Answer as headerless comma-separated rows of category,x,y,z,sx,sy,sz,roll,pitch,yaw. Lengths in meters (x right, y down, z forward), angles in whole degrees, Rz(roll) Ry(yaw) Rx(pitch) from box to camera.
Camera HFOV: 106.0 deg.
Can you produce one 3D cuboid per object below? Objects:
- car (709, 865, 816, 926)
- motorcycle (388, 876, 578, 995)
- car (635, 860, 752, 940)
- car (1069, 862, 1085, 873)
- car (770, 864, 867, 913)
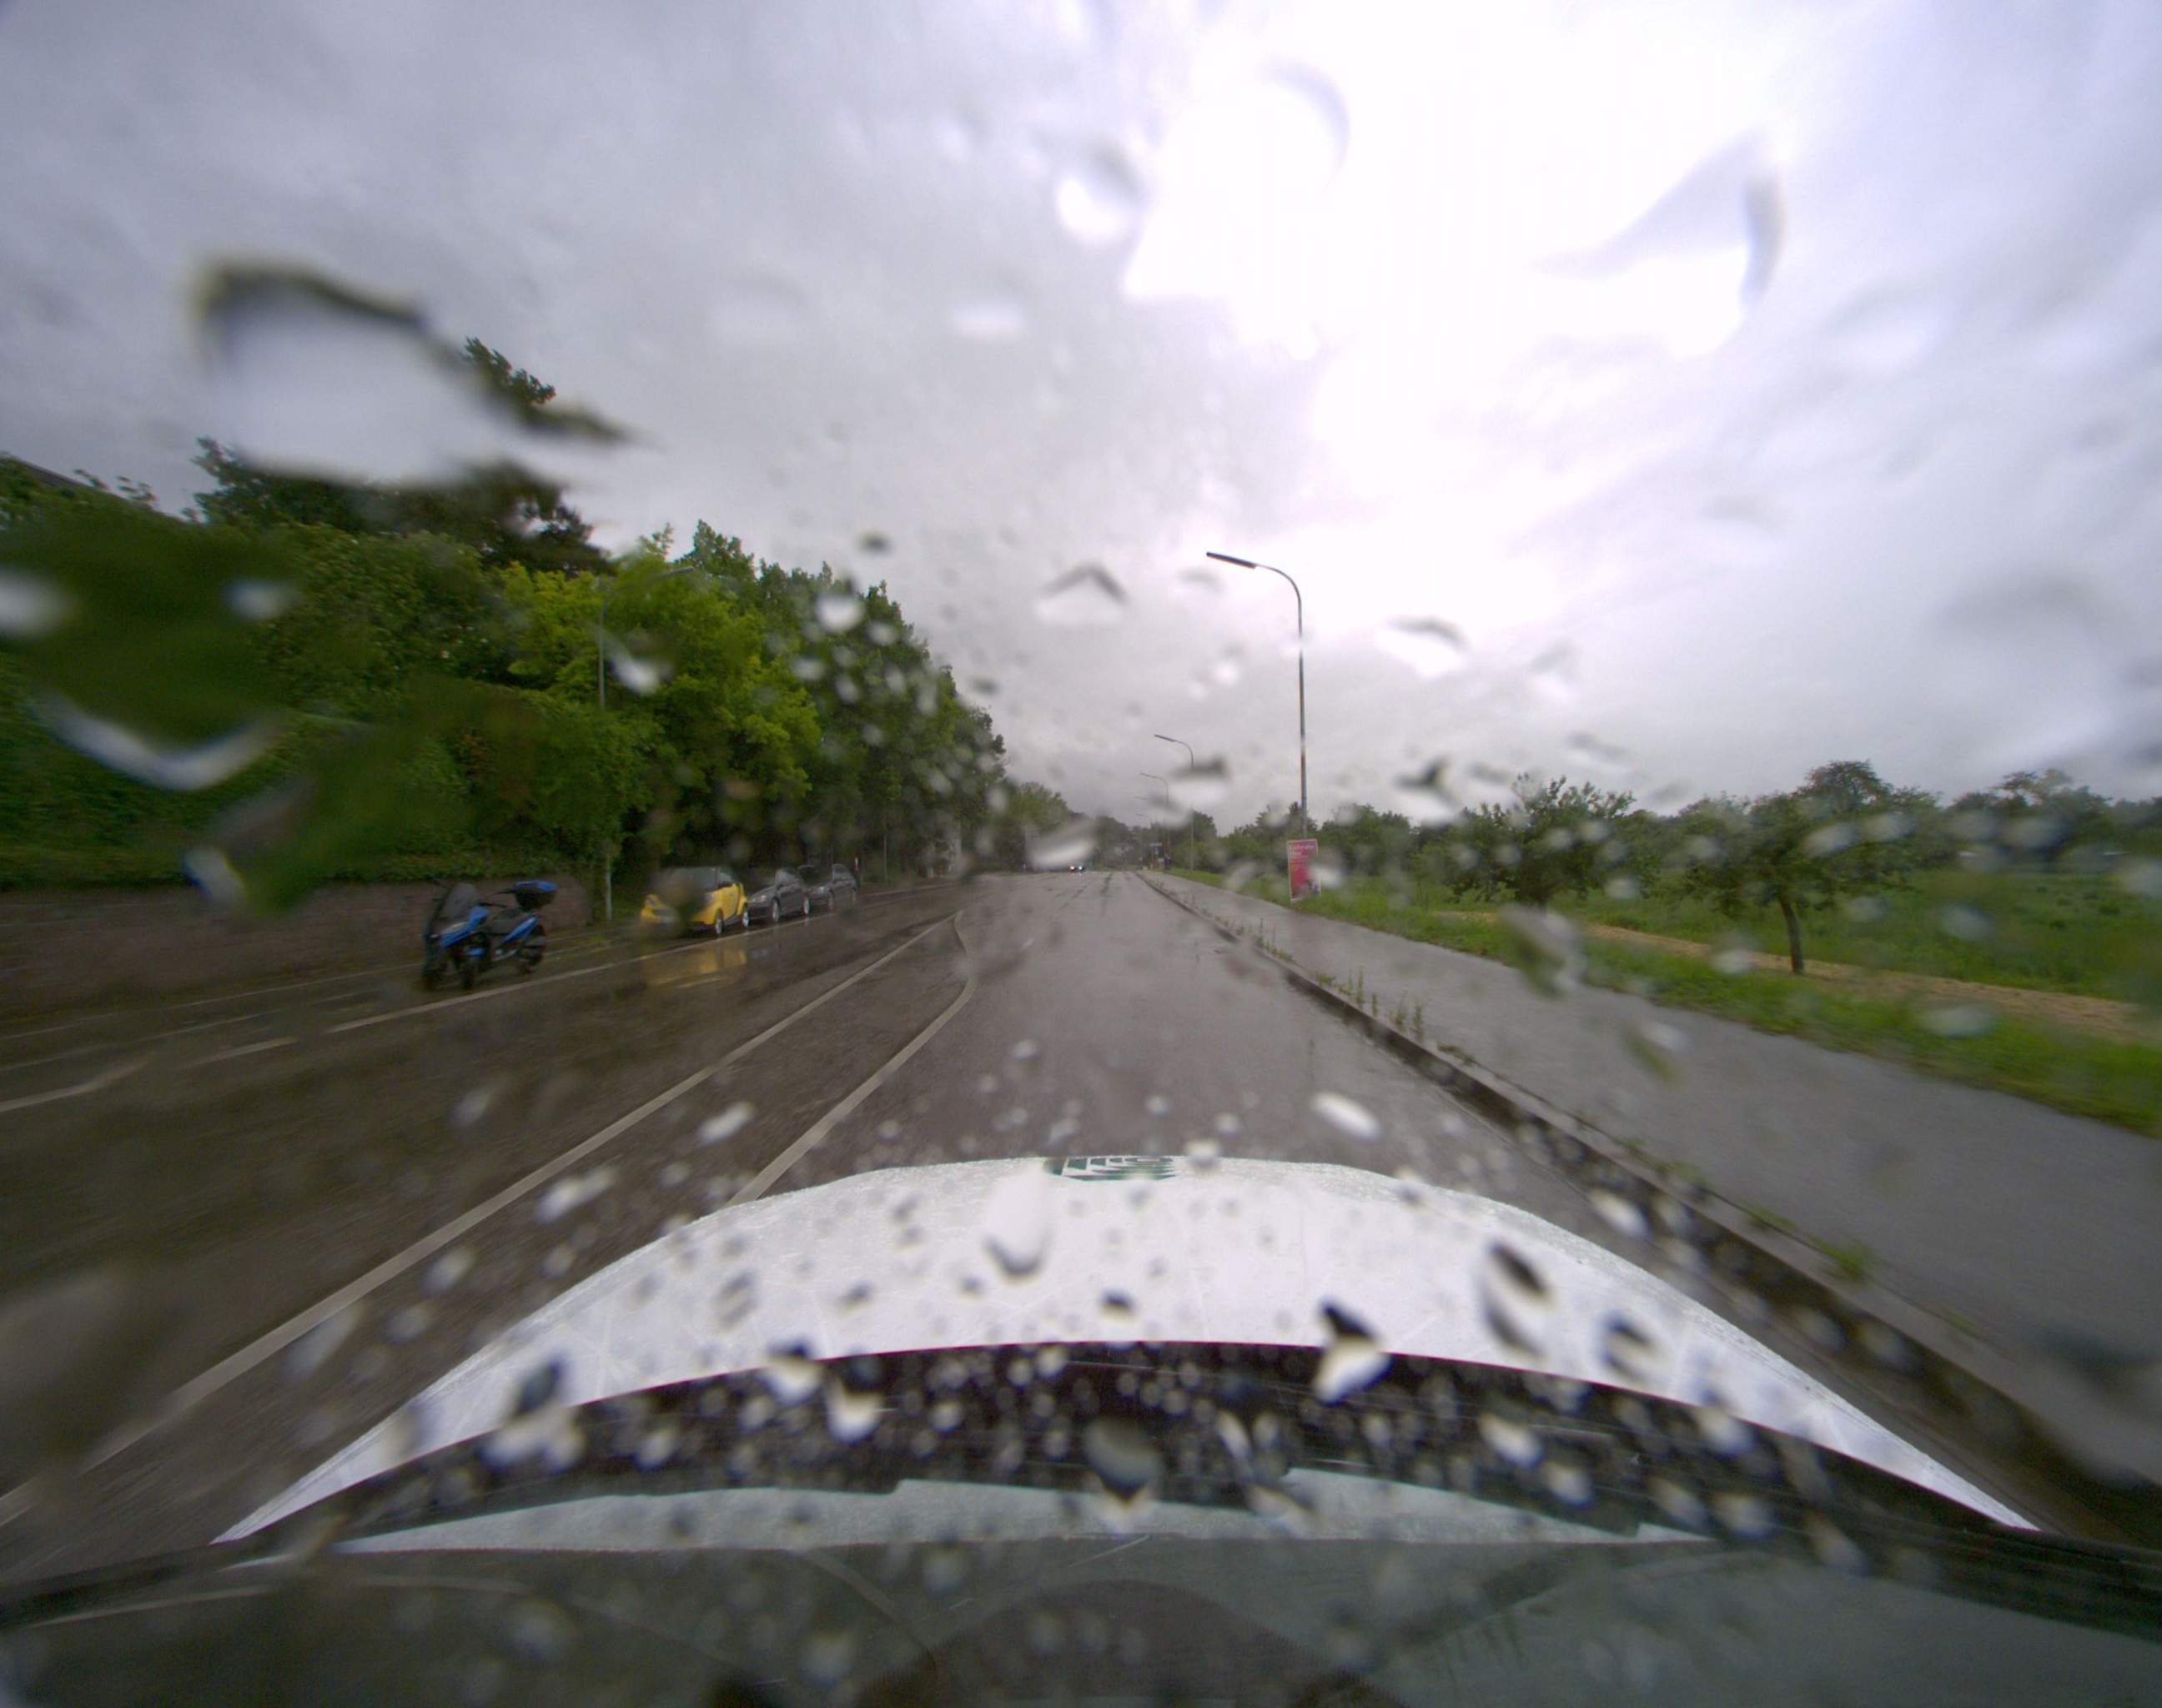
car,-8.328,1.020,21.638,1.430,1.419,4.098,-2,-1,-4
motorcycle,-7.844,0.996,10.889,0.836,1.341,2.494,-2,-1,-5
car,-8.292,0.929,17.658,1.432,1.537,2.812,-2,-1,-7
car,-0.591,2.180,132.026,1.782,1.762,4.012,-1,-1,11
car,-8.542,1.066,26.911,1.682,1.419,4.739,-2,0,-1
